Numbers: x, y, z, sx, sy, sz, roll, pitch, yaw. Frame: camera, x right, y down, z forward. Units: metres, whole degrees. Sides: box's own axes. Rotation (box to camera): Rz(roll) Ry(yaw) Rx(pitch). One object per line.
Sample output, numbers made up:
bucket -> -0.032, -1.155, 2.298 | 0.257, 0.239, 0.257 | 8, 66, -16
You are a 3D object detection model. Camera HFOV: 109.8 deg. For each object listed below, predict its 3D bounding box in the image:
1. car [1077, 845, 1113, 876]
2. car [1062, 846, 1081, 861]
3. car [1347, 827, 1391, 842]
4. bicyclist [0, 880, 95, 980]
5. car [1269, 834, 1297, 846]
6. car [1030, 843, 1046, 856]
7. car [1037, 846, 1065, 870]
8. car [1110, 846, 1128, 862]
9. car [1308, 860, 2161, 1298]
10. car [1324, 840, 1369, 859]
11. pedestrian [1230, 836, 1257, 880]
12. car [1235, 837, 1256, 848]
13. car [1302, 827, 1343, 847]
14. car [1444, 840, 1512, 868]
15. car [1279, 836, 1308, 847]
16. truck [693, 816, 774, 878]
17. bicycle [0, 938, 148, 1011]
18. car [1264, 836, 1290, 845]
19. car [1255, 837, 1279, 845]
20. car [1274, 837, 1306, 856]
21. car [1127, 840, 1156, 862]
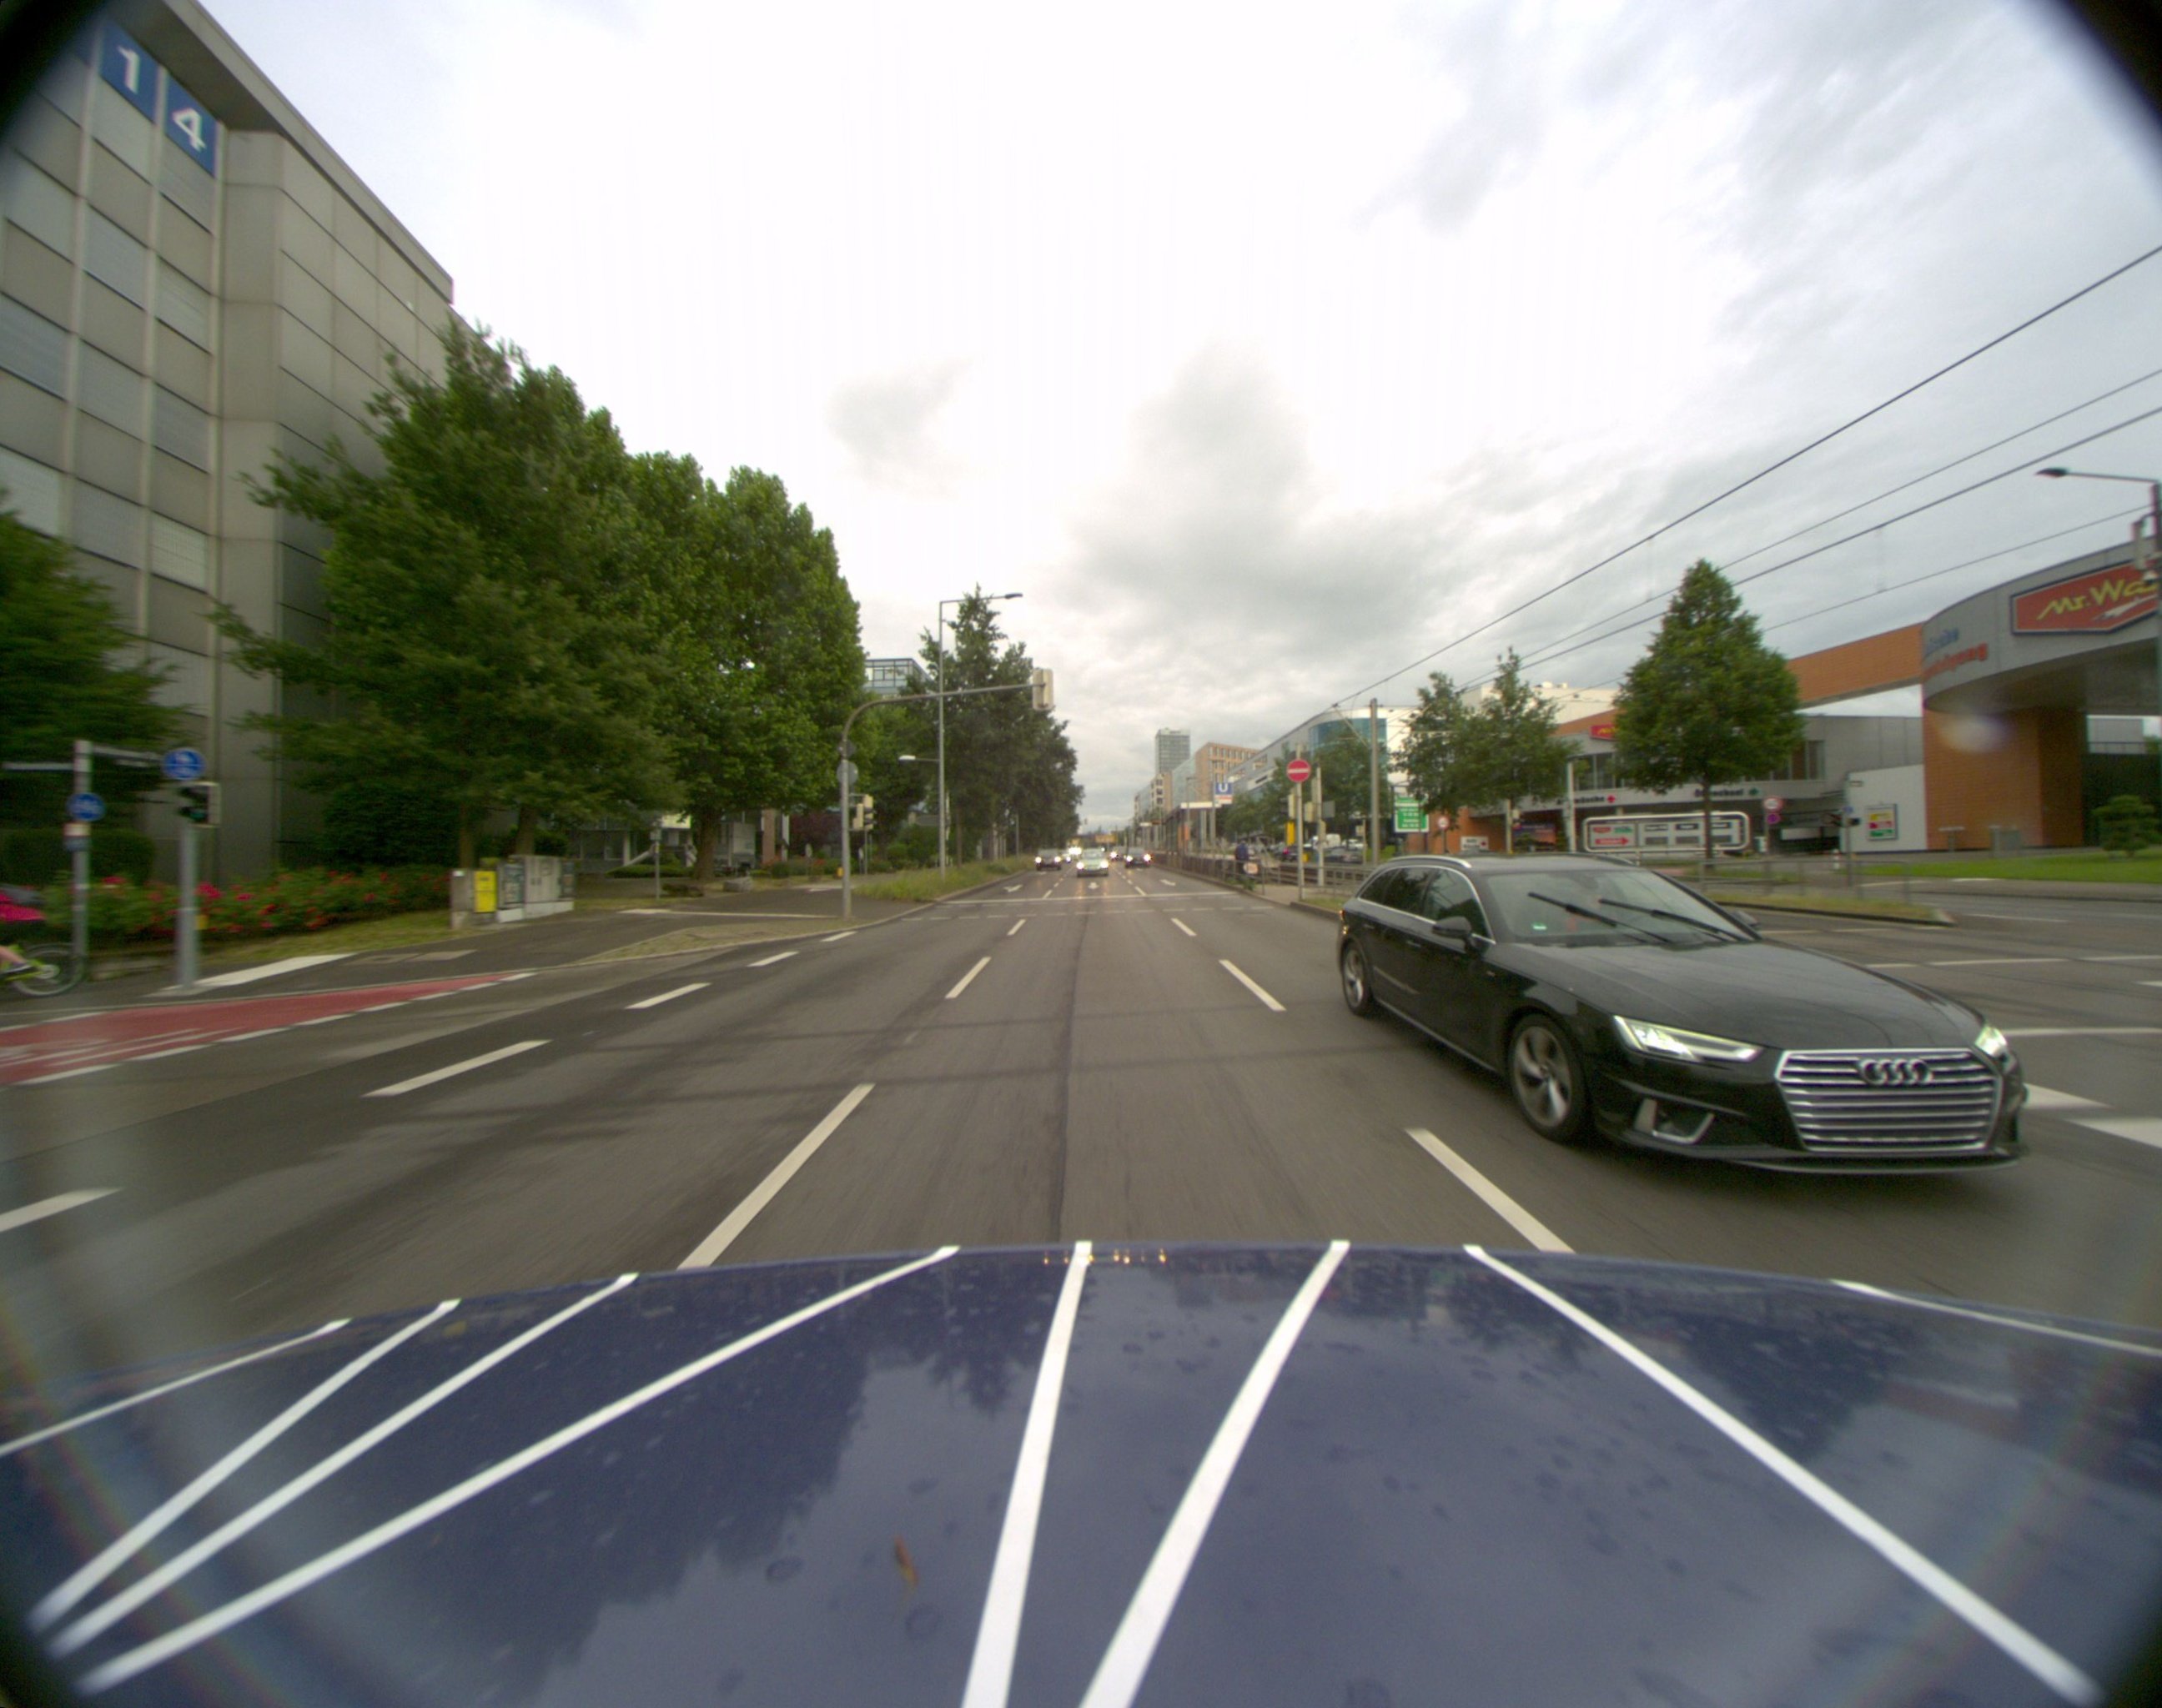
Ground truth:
car -> 0.781, 0.335, 41.478 | 1.803, 1.533, 4.374 | -2, 1, 1
car -> -1.016, -0.027, 84.556 | 1.873, 1.533, 4.106 | -2, 1, 1
car -> 42.463, -2.827, 112.096 | 5.483, 1.915, 2.277 | -3, 2, -5
bicyclist -> -14.723, 1.054, 10.436 | 1.221, 1.281, 0.656 | -4, 2, -33
car -> 34.525, -2.413, 129.980 | 3.999, 1.652, 1.921 | -4, 1, -6
car -> -5.711, -0.632, 101.074 | 1.816, 1.660, 4.369 | -2, 1, -1
car -> -2.262, 0.268, 57.638 | 1.816, 1.660, 4.548 | -2, 1, 1
car -> 4.236, 0.015, 84.379 | 1.781, 1.671, 4.130 | -2, 1, 1
car -> 3.139, 0.840, 5.154 | 1.794, 1.426, 4.828 | -2, 1, 1
car -> 20.754, -0.366, 59.540 | 1.858, 1.419, 4.387 | 0, 1, -1
pedestrian -> 6.260, 0.163, 29.265 | 0.703, 1.641, 0.648 | -3, 1, -27
car -> 23.880, -1.734, 110.544 | 1.999, 1.509, 4.705 | -3, 1, -1
car -> 35.704, -2.531, 112.359 | 5.487, 2.614, 2.275 | -3, 2, -16
car -> 21.601, -0.009, 41.474 | 1.732, 1.415, 3.779 | -1, 1, 1
car -> 34.232, -2.009, 122.272 | 3.999, 1.499, 1.895 | -3, 2, -7
truck -> -15.397, -0.352, 33.870 | 1.751, 2.503, 3.998 | -3, 2, -2
bicycle -> -14.737, 1.713, 10.418 | 2.322, 0.804, 0.668 | -4, 2, -33
car -> 34.305, -2.376, 132.930 | 3.999, 1.482, 1.822 | -2, 1, -6
car -> 34.723, -2.439, 141.732 | 3.845, 1.482, 1.821 | -2, 1, -17
car -> 20.555, -0.731, 75.000 | 1.998, 1.764, 4.388 | -1, 1, 1
car -> 4.380, -0.245, 55.516 | 1.798, 1.493, 4.000 | -2, 1, 2
